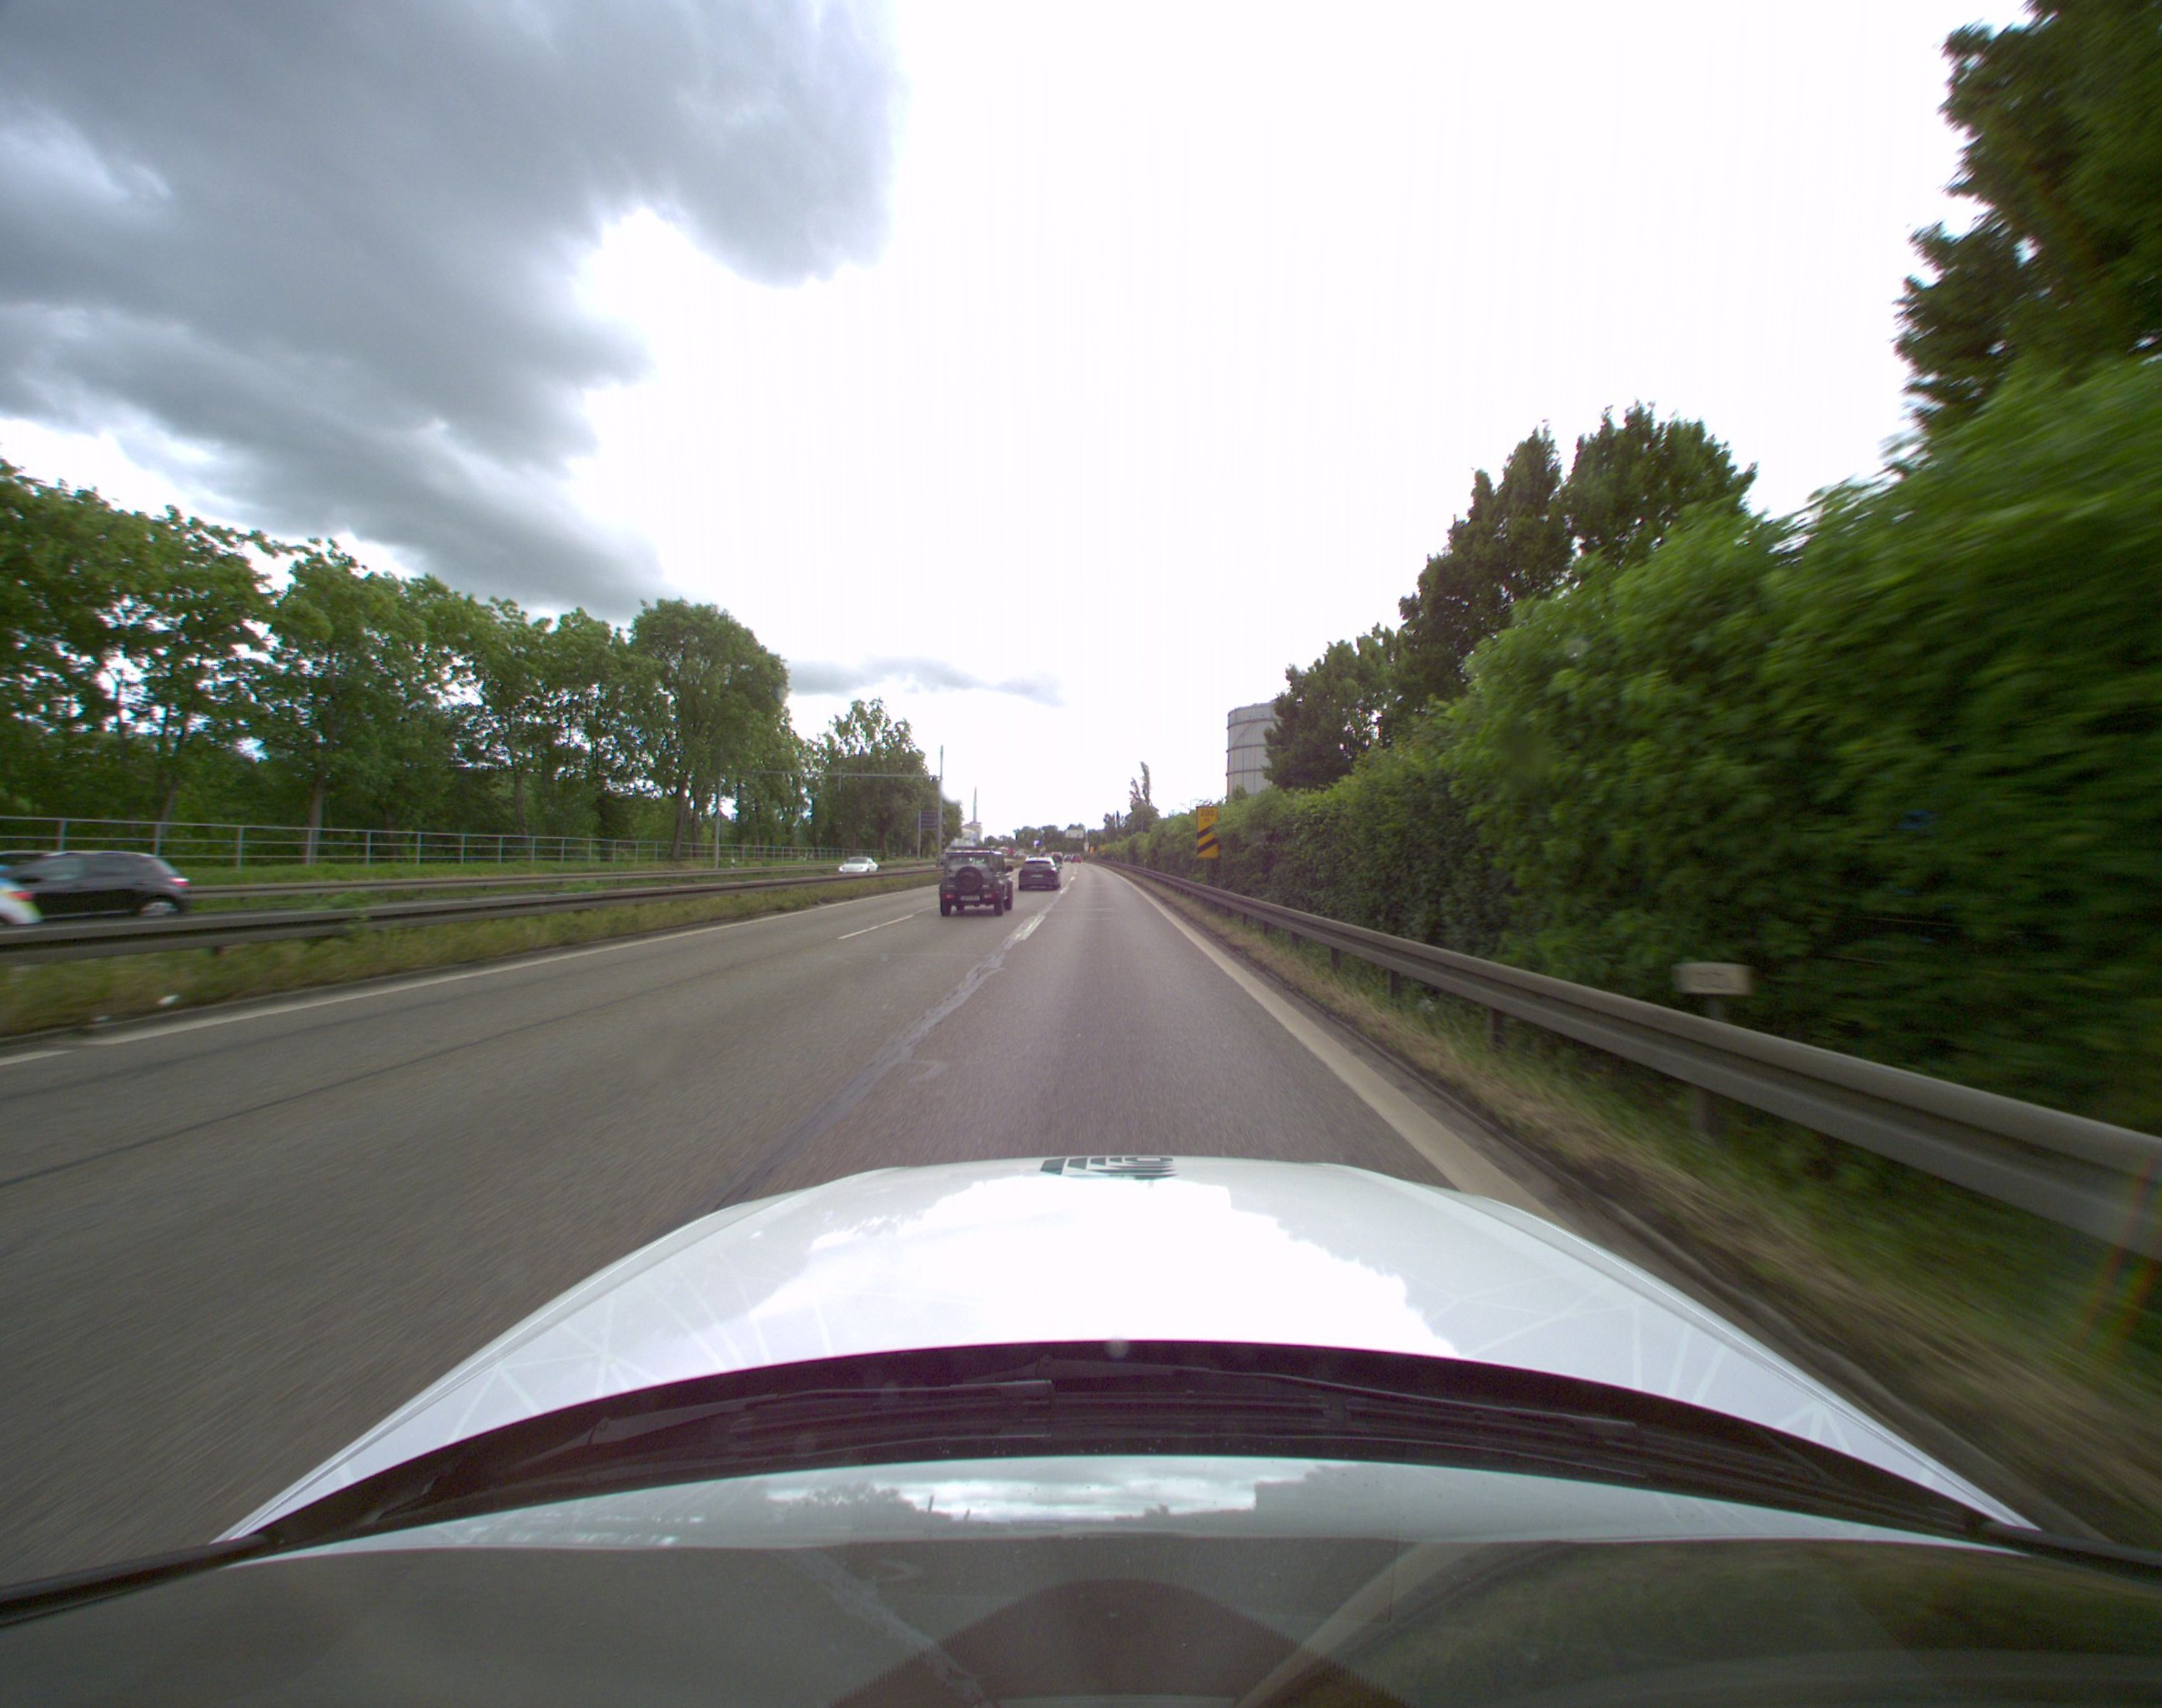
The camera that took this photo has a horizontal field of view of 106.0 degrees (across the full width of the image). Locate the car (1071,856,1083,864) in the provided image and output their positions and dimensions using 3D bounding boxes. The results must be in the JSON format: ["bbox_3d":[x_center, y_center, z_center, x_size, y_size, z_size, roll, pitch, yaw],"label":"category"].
[{"bbox_3d":[-0.692,1.047,147.104,1.970,1.423,4.895,0,0,-3],"label":"car"}]

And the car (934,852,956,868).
[{"bbox_3d":[-15.127,0.638,90.774,1.720,1.775,3.743,0,0,2],"label":"car"}]

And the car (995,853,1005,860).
[{"bbox_3d":[-15.833,0.449,159.419,1.655,1.424,3.910,0,0,-1],"label":"car"}]

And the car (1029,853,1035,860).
[{"bbox_3d":[-12.914,0.681,215.258,1.694,1.742,4.387,0,0,-4],"label":"car"}]

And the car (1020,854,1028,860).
[{"bbox_3d":[-17.914,0.950,255.871,2.011,1.934,4.889,0,0,-7],"label":"car"}]

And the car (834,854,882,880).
[{"bbox_3d":[-14.835,0.840,54.437,1.860,1.674,4.719,0,0,1],"label":"car"}]

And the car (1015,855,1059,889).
[{"bbox_3d":[-1.957,0.786,37.364,1.840,1.423,4.896,2,0,-2],"label":"car"}]

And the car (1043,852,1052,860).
[{"bbox_3d":[-8.312,0.577,203.374,2.009,1.934,4.893,0,0,-4],"label":"car"}]

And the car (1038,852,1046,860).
[{"bbox_3d":[-10.674,0.534,221.854,2.010,1.934,4.891,0,0,-5],"label":"car"}]

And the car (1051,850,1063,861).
[{"bbox_3d":[-3.771,0.222,129.817,1.691,1.742,4.001,0,0,1],"label":"car"}]

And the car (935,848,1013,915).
[{"bbox_3d":[-2.855,0.696,22.485,1.693,1.686,3.998,0,0,-1],"label":"car"}]

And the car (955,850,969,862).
[{"bbox_3d":[-19.295,0.294,131.721,1.605,1.883,4.560,0,0,0],"label":"car"}]

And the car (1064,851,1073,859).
[{"bbox_3d":[-2.713,0.260,172.250,1.694,1.742,4.387,0,0,-4],"label":"car"}]

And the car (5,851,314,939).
[{"bbox_3d":[-18.821,0.749,16.966,1.719,1.605,4.044,-1,0,2],"label":"car"}]

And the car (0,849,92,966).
[{"bbox_3d":[-15.684,0.750,9.885,1.691,1.605,4.540,-1,0,2],"label":"car"}]
